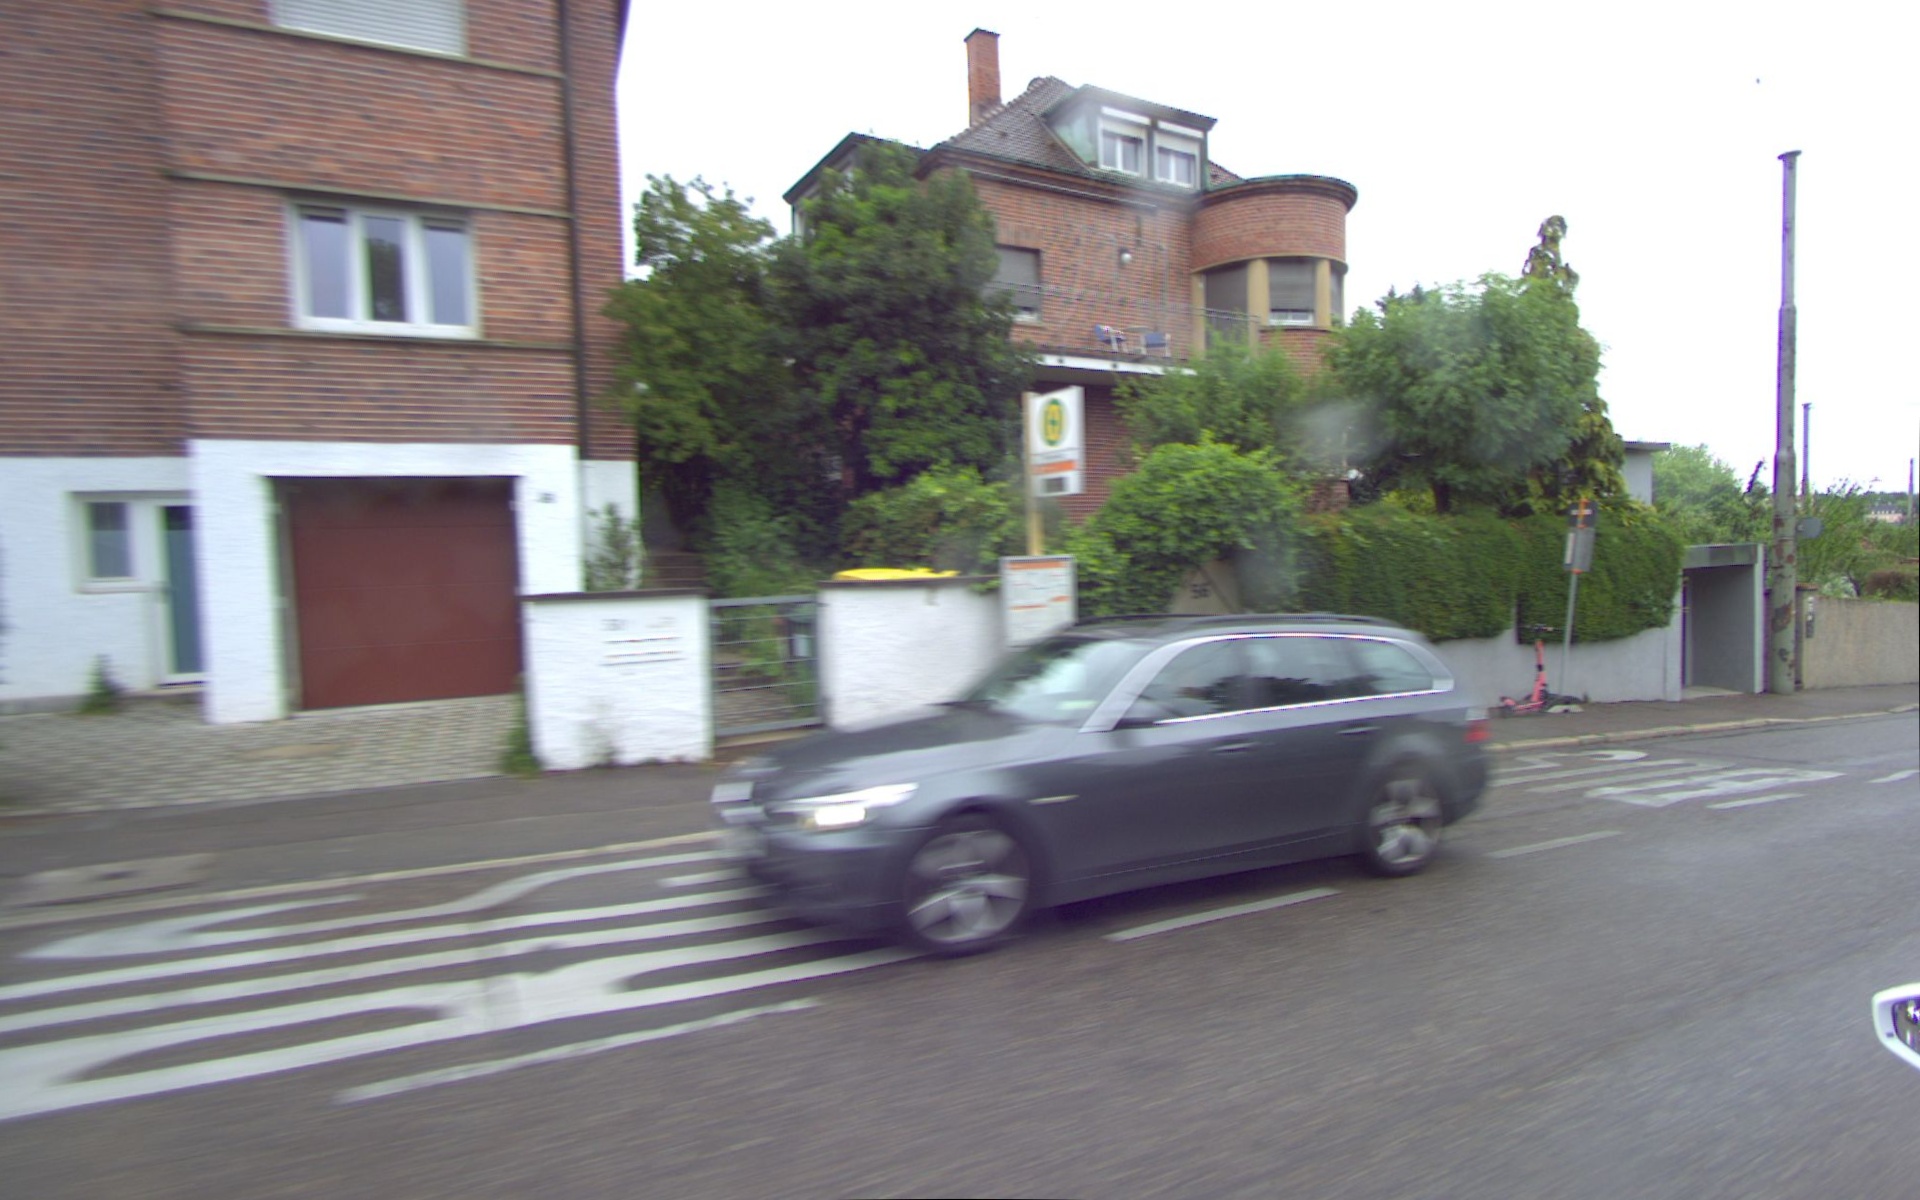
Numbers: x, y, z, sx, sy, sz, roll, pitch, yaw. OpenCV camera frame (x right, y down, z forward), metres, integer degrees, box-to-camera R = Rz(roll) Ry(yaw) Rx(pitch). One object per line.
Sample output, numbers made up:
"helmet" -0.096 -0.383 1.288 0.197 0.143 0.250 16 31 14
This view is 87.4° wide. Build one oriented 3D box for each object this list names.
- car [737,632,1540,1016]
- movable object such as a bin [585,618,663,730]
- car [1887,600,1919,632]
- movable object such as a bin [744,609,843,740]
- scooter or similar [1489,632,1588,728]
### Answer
"car" 1.175 0.947 5.853 4.558 1.470 1.730 1 -1 -29
"movable object such as a bin" -3.635 0.776 10.860 0.749 1.096 0.623 -1 5 -22
"car" 50.221 0.767 51.362 1.620 1.479 3.792 -6 0 -18
"movable object such as a bin" -1.553 0.662 9.342 0.750 1.096 0.622 -2 5 -28
"scooter or similar" 7.892 1.056 13.685 1.418 1.219 0.520 0 -1 -30
